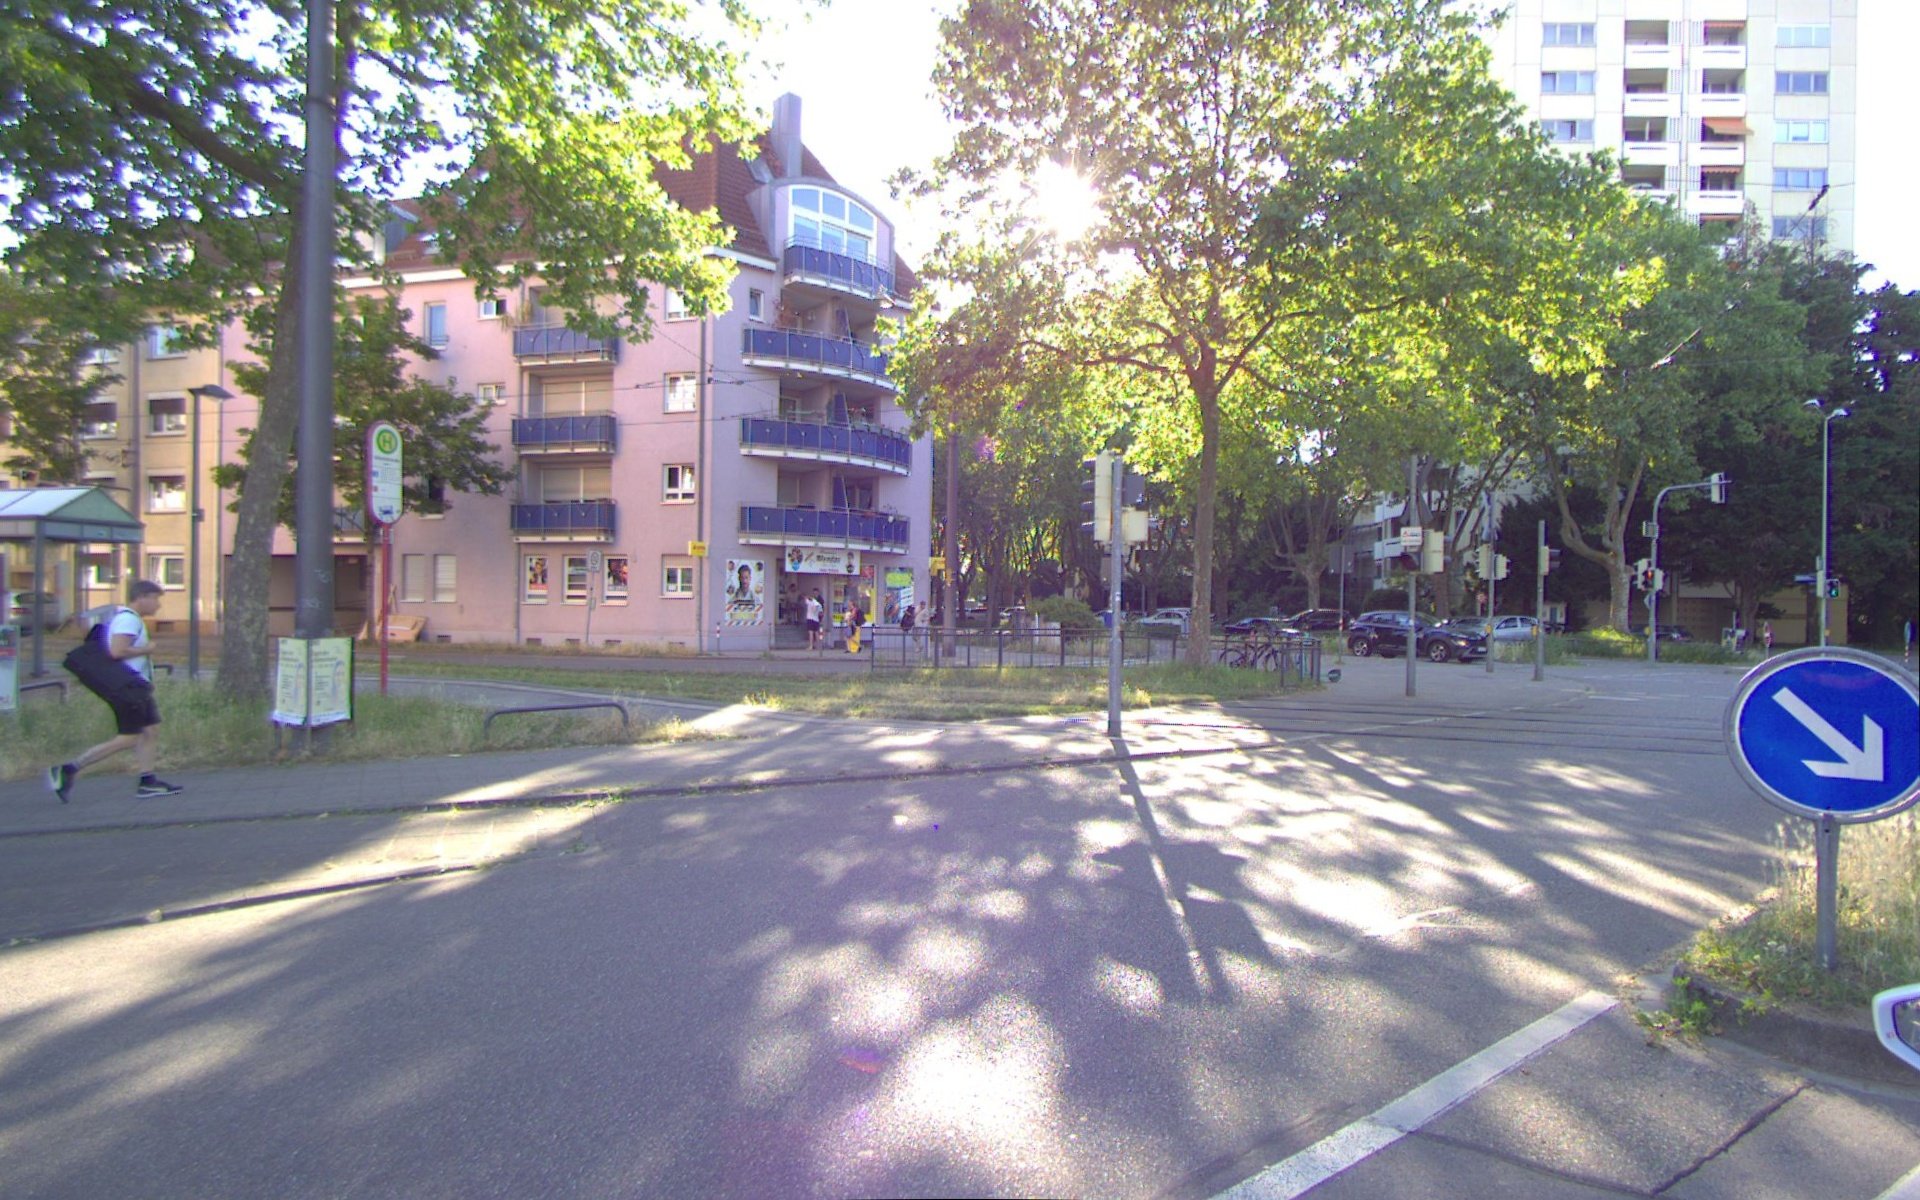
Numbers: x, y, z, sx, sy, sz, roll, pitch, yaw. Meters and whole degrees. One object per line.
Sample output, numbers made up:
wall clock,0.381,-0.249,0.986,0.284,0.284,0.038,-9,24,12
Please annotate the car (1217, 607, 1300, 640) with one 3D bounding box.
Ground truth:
car,15.911,1.235,53.678,3.921,1.617,1.738,2,0,0

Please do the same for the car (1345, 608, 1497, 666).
car,14.337,1.110,31.412,1.722,1.617,3.959,2,0,-36

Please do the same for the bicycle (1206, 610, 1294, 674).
bicycle,6.398,0.919,22.242,1.811,1.324,0.382,2,0,34

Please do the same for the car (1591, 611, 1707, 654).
car,31.617,1.461,46.200,1.971,1.798,3.979,2,0,-22

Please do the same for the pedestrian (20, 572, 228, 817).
pedestrian,-6.593,0.687,7.940,0.889,1.760,1.084,2,0,38

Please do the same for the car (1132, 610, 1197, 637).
car,13.400,1.546,65.980,3.921,1.617,1.738,2,0,0

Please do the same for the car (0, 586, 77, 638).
car,-33.480,0.384,35.213,4.029,1.728,1.940,2,0,16

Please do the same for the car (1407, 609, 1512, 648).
car,22.839,1.294,46.030,3.921,1.617,1.738,2,0,0

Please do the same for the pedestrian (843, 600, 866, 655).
pedestrian,-3.276,0.849,31.153,0.609,1.689,0.549,2,0,-14

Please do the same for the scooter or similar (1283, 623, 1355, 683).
scooter or similar,7.921,1.168,22.200,1.412,1.255,0.414,2,0,9

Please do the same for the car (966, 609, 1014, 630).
car,2.605,1.661,86.363,3.919,1.617,1.739,2,0,9

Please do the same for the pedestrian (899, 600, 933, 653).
pedestrian,-1.437,0.851,32.886,0.909,1.689,0.619,2,0,27

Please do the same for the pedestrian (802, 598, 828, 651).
pedestrian,-4.719,0.782,32.699,0.610,1.689,0.549,2,0,38

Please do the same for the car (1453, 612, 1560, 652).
car,23.880,1.378,43.980,3.732,1.617,1.738,2,0,0

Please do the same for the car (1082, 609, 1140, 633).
car,11.081,1.517,73.894,3.921,1.617,1.738,2,0,0
